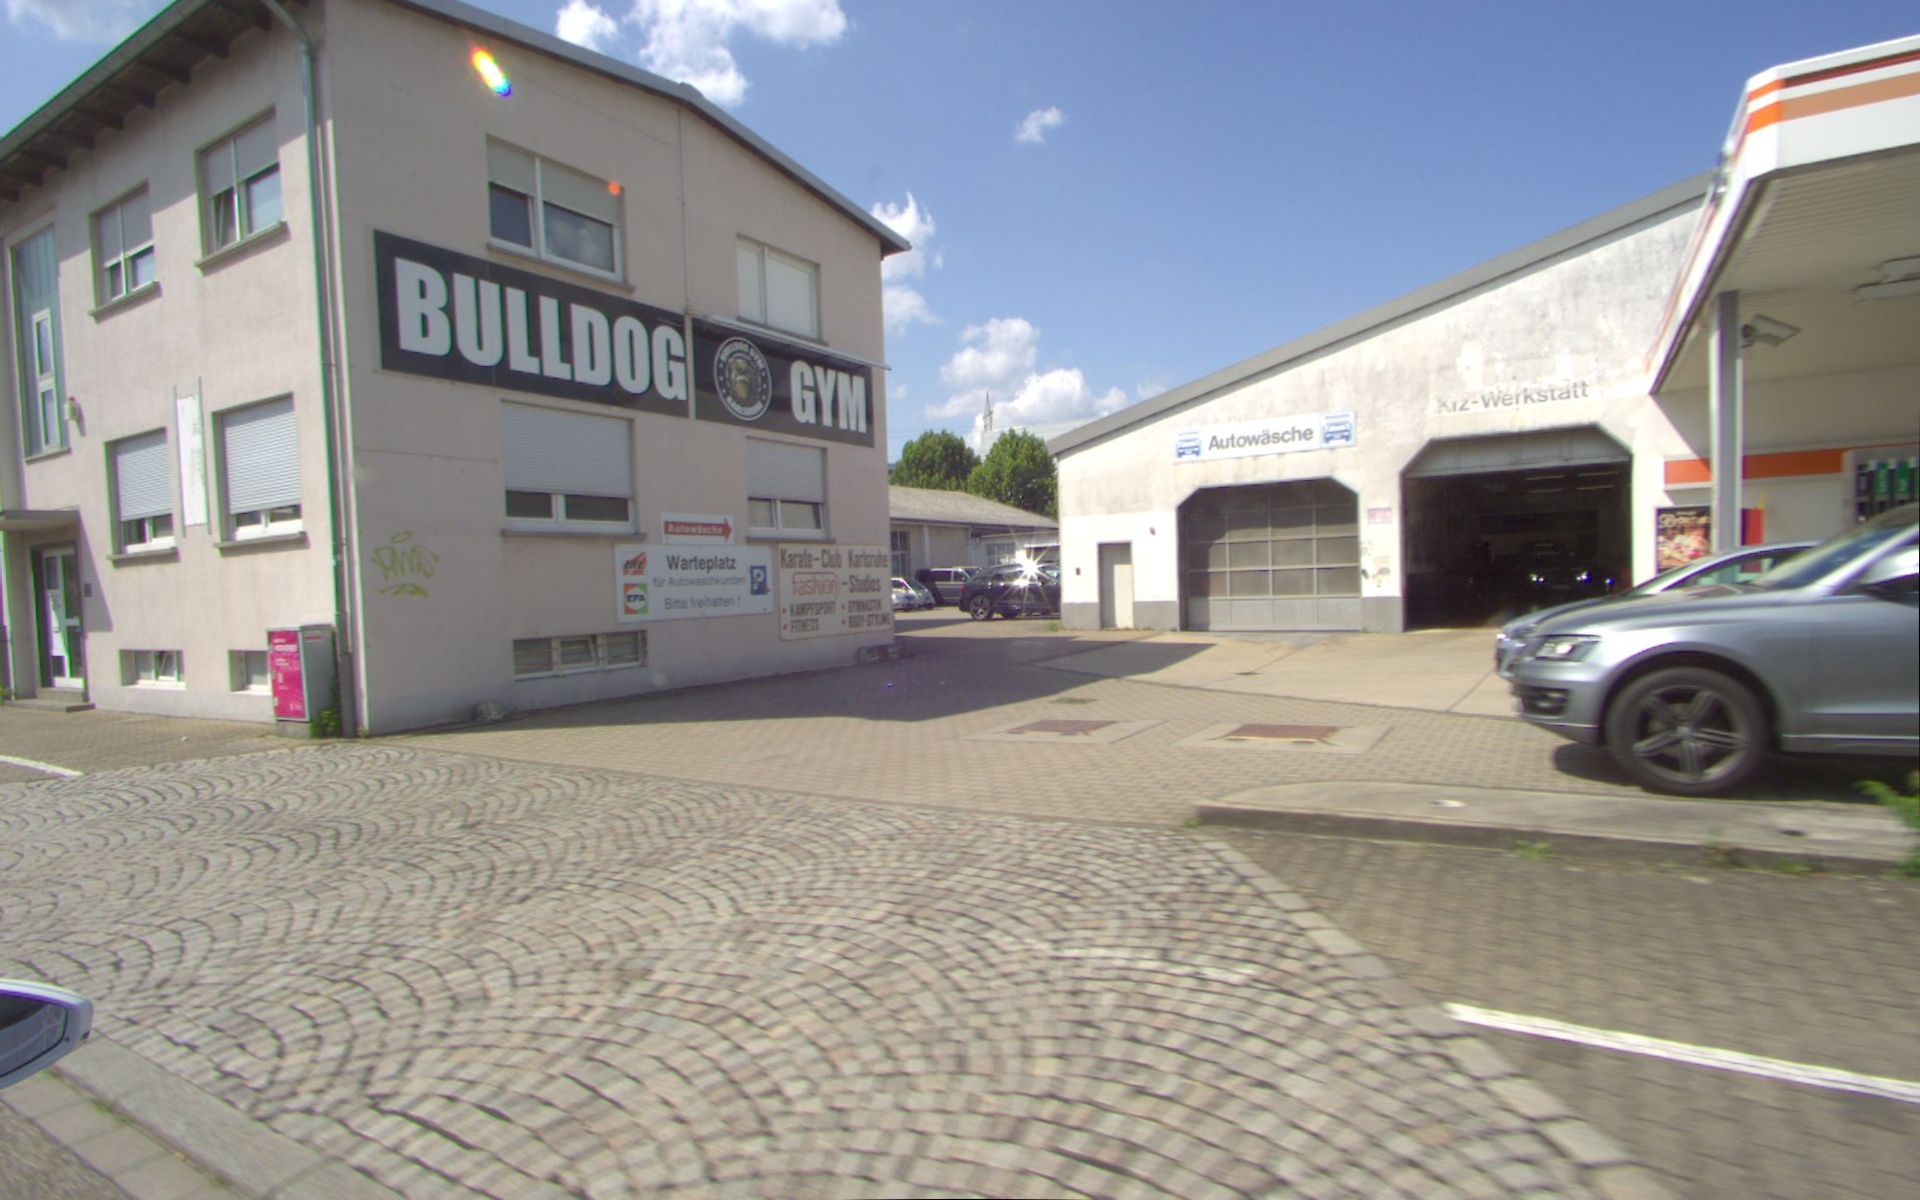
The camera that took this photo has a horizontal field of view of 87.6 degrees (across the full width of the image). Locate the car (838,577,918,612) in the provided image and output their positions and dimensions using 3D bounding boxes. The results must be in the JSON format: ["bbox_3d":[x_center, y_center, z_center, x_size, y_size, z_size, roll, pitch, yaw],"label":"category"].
[{"bbox_3d":[-3.700,-0.218,45.165,3.423,1.415,1.411,-2,-1,32],"label":"car"}]

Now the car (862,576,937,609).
[{"bbox_3d":[-2.889,-0.356,47.563,3.423,1.415,1.360,-2,-1,32],"label":"car"}]

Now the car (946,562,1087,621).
[{"bbox_3d":[1.648,-0.251,29.728,3.886,1.564,1.508,-2,2,32],"label":"car"}]

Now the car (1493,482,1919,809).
[{"bbox_3d":[5.645,0.189,5.670,4.548,1.647,1.941,-2,2,31],"label":"car"}]

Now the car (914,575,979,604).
[{"bbox_3d":[-0.698,-0.524,51.389,3.036,1.387,1.360,-2,-1,32],"label":"car"}]

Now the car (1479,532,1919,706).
[{"bbox_3d":[7.626,0.175,9.798,4.350,1.491,1.691,-2,2,23],"label":"car"}]
